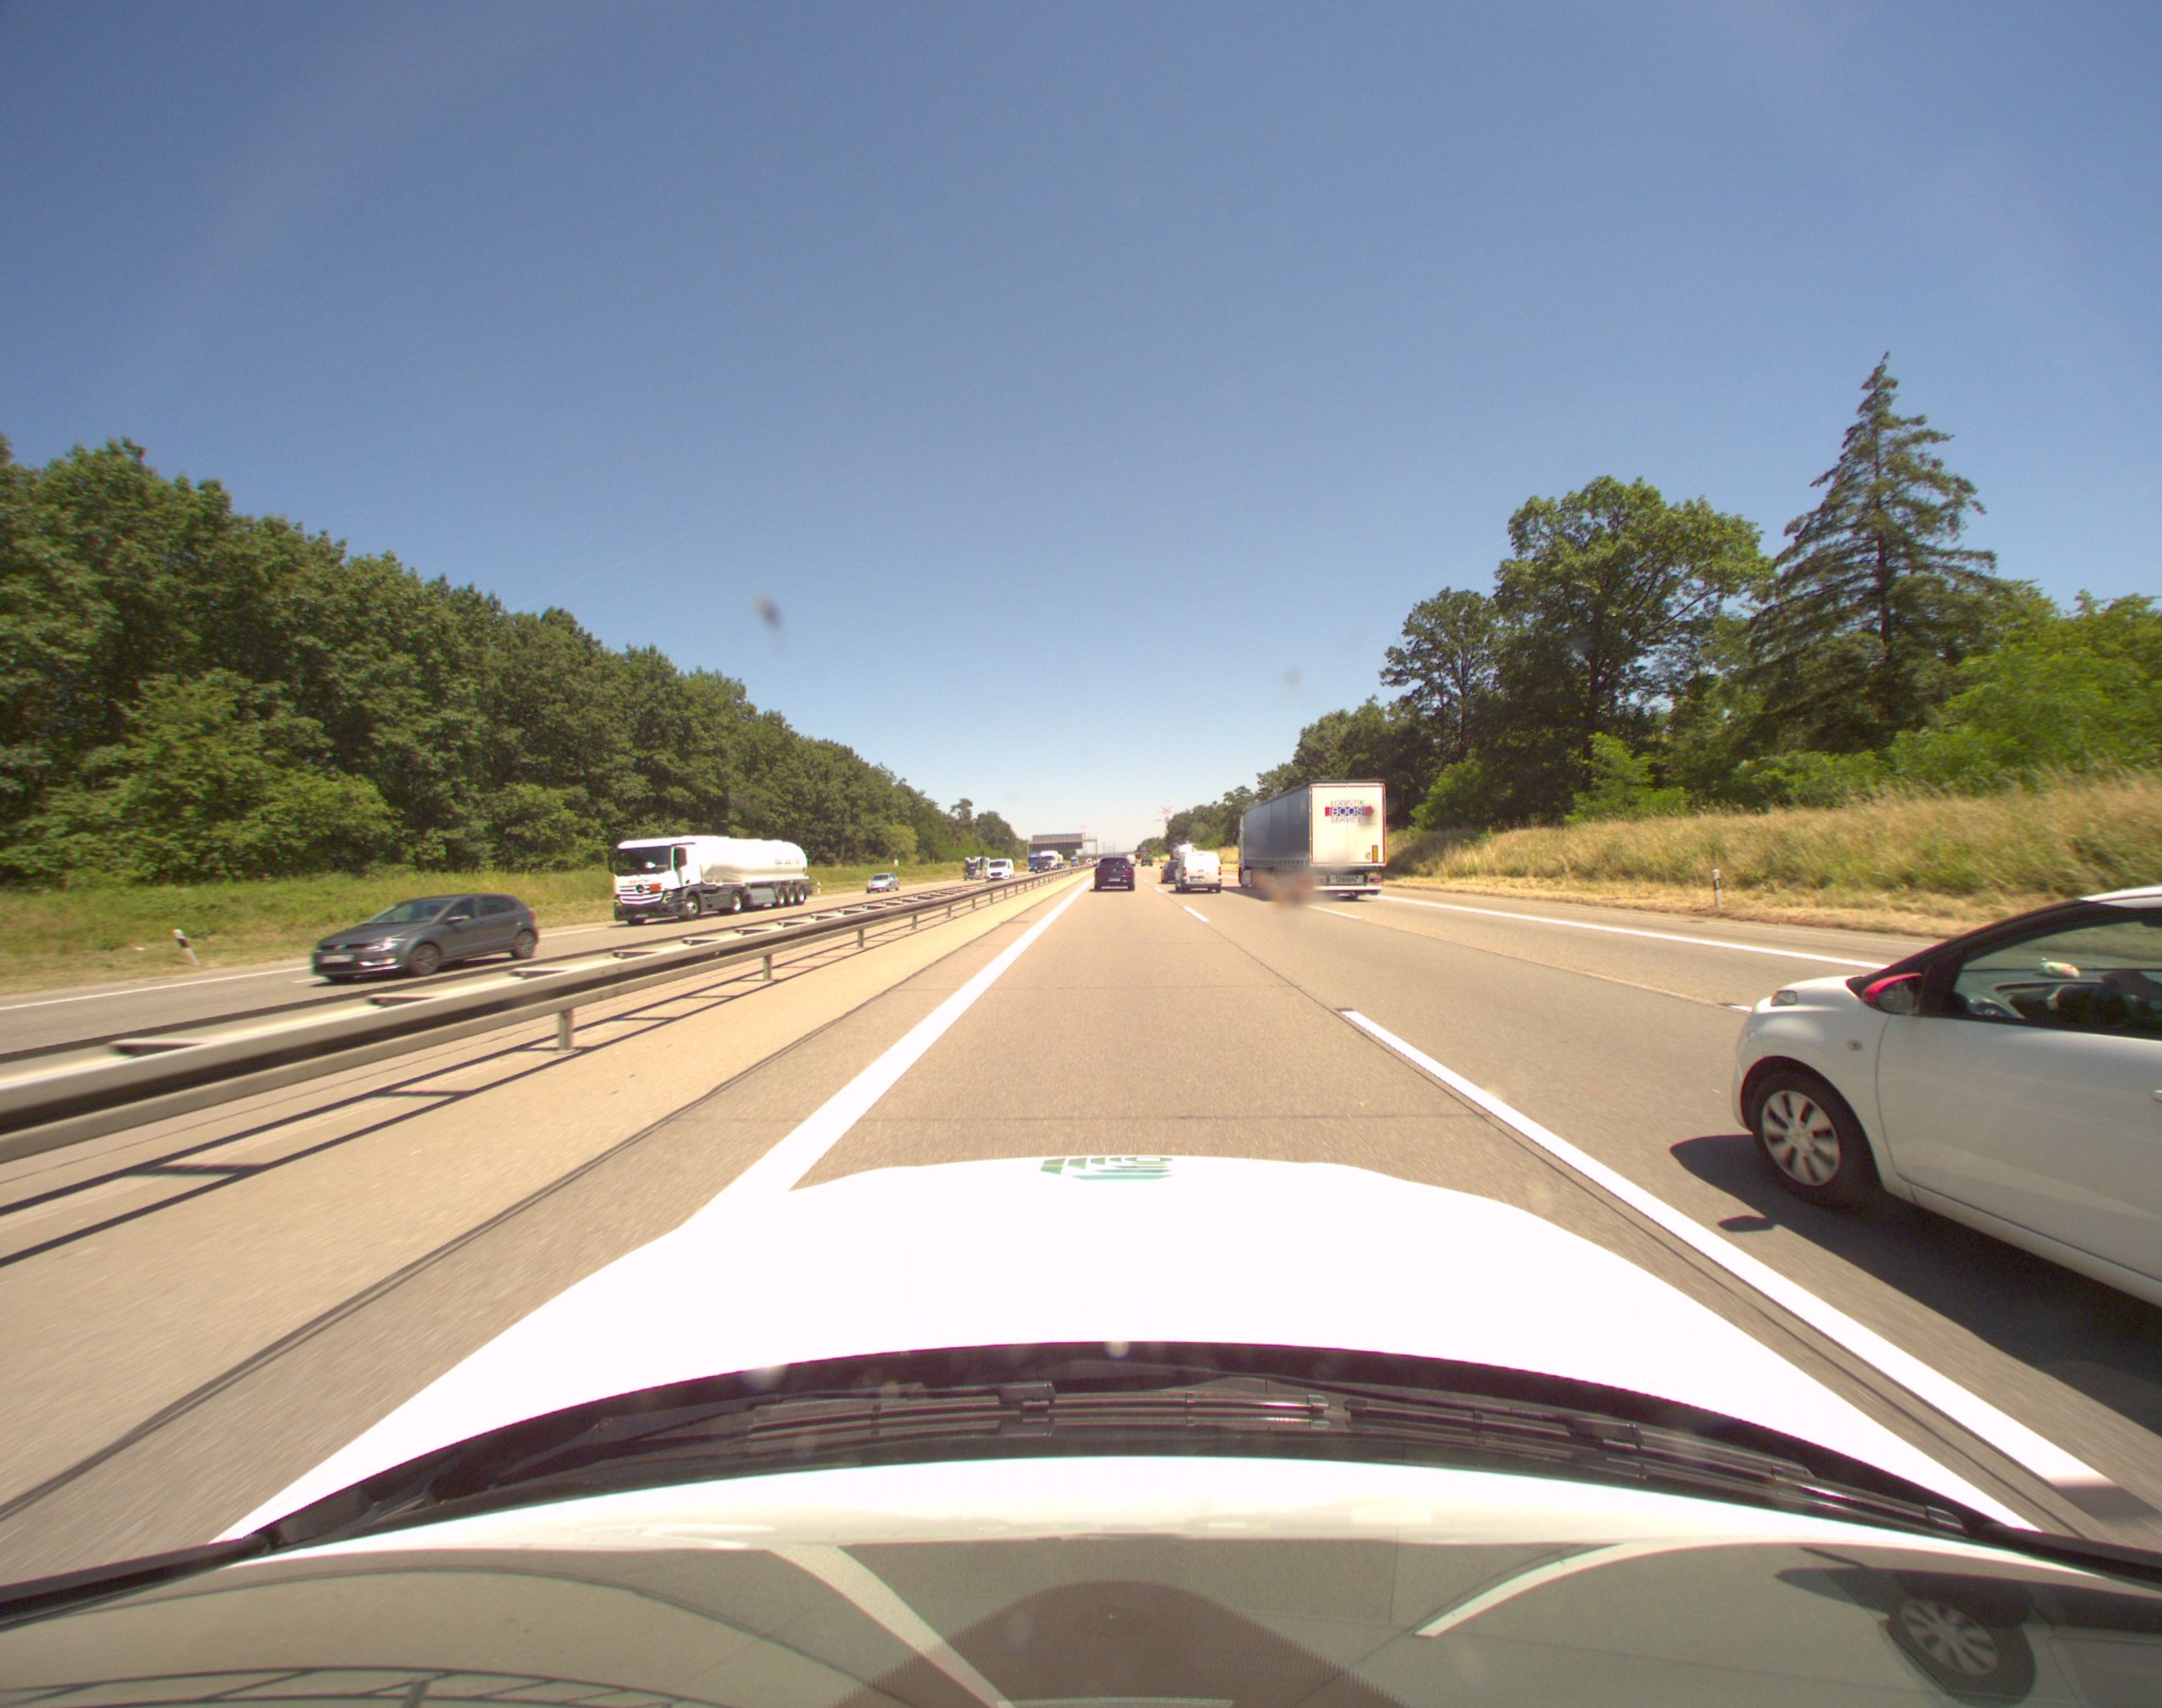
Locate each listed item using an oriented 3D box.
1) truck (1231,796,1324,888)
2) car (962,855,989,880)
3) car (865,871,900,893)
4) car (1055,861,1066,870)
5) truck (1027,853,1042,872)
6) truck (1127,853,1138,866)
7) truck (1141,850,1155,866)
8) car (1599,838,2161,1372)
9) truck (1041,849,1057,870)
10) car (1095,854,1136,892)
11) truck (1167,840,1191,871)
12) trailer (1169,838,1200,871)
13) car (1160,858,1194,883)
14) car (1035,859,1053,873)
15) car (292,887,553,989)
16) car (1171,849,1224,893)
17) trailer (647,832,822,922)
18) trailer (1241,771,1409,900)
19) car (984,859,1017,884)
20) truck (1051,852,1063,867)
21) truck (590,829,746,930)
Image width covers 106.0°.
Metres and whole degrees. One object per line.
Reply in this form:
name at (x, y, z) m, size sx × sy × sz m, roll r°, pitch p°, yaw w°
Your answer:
truck at (9.571, -0.523, 40.352) m, size 3.273 × 4.219 × 6.009 m, roll 0°, pitch -1°, yaw 2°
car at (-12.942, 1.654, 100.473) m, size 2.205 × 2.858 × 6.456 m, roll -4°, pitch -1°, yaw 2°
car at (-15.210, 2.120, 62.661) m, size 1.563 × 1.465 × 4.036 m, roll -4°, pitch 0°, yaw 1°
car at (-3.804, 2.147, 151.073) m, size 1.611 × 1.482 × 4.626 m, roll -4°, pitch 0°, yaw 2°
truck at (-10.403, 1.861, 182.146) m, size 2.659 × 4.169 × 6.191 m, roll -4°, pitch -1°, yaw 1°
truck at (11.877, 1.368, 188.359) m, size 2.052 × 2.914 × 7.006 m, roll -2°, pitch -1°, yaw 2°
truck at (16.684, 1.062, 203.443) m, size 2.978 × 3.729 × 10.093 m, roll 0°, pitch -1°, yaw 2°
car at (3.888, 0.692, 2.840) m, size 1.701 × 1.495 × 4.026 m, roll -1°, pitch 0°, yaw 2°
truck at (-6.367, 1.088, 162.424) m, size 2.659 × 3.990 × 6.343 m, roll -4°, pitch -1°, yaw 1°
car at (1.714, 0.903, 41.417) m, size 1.933 × 1.752 × 5.815 m, roll -1°, pitch 0°, yaw 1°
truck at (12.723, 0.195, 105.593) m, size 2.673 × 3.837 × 4.445 m, roll 0°, pitch -1°, yaw 2°
trailer at (12.545, 0.130, 99.790) m, size 2.672 × 3.837 × 12.014 m, roll 0°, pitch -1°, yaw 2°
car at (6.047, 1.039, 51.603) m, size 1.768 × 1.472 × 3.874 m, roll -2°, pitch -1°, yaw 2°
car at (-5.056, 1.618, 111.918) m, size 1.869 × 1.847 × 5.836 m, roll -4°, pitch -1°, yaw 2°
car at (-12.360, 1.501, 15.671) m, size 1.626 × 1.473 × 3.939 m, roll -4°, pitch 0°, yaw 2°
car at (5.301, 0.751, 37.572) m, size 1.807 × 1.827 × 5.112 m, roll -2°, pitch -1°, yaw 2°
trailer at (-15.802, 0.959, 38.594) m, size 2.672 × 3.434 × 11.805 m, roll -4°, pitch 0°, yaw 2°
trailer at (9.376, -0.549, 33.670) m, size 3.273 × 4.219 × 13.570 m, roll 0°, pitch -1°, yaw 2°
car at (-6.894, 1.448, 70.184) m, size 1.989 × 1.947 × 5.743 m, roll -4°, pitch 0°, yaw 1°
truck at (-7.033, 1.669, 239.605) m, size 2.692 × 4.186 × 6.191 m, roll -4°, pitch -1°, yaw 1°
truck at (-16.042, 0.926, 32.236) m, size 2.672 × 3.434 × 6.147 m, roll -4°, pitch -1°, yaw 2°
